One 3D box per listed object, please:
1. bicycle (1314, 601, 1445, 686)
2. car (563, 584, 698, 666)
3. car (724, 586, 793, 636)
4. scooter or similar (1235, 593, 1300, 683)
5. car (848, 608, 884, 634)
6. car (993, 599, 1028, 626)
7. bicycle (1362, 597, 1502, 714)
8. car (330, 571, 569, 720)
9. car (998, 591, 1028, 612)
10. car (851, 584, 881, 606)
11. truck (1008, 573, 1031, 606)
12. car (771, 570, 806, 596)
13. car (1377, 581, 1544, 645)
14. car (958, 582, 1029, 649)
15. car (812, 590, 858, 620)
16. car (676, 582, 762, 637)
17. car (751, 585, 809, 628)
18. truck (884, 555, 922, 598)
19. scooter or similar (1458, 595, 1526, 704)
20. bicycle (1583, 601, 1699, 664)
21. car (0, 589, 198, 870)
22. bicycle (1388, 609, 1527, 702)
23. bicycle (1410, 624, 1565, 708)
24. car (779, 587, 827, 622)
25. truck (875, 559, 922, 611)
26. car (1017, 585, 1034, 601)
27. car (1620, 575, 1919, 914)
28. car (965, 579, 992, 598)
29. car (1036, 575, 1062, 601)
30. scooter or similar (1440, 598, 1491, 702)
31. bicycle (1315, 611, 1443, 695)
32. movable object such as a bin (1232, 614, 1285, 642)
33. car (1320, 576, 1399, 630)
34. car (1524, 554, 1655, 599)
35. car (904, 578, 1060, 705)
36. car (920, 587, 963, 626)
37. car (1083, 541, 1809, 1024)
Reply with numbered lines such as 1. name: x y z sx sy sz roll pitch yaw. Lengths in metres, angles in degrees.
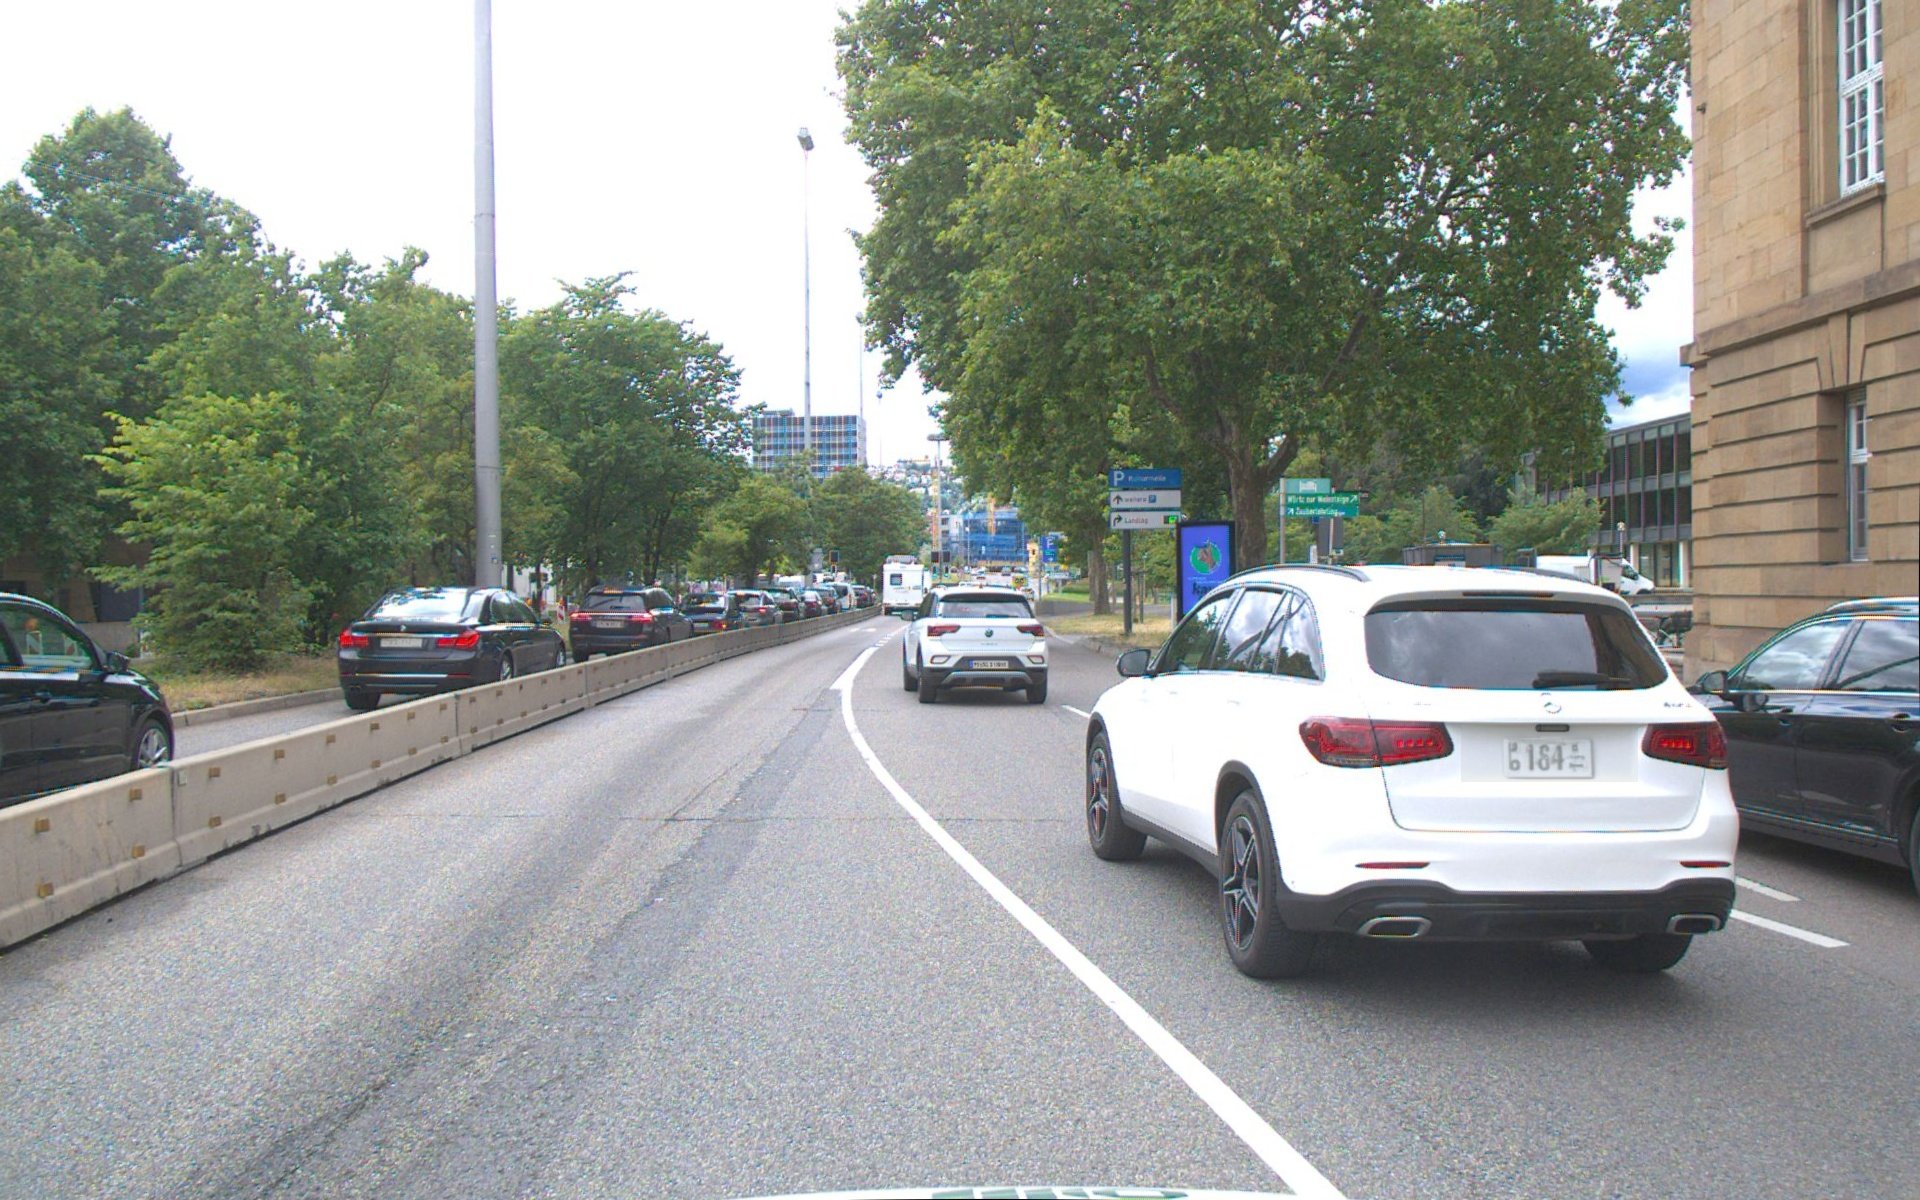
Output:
1. bicycle: 5.678 0.580 22.419 1.691 1.110 0.381 1 0 13
2. car: -6.537 0.456 33.295 1.779 1.525 4.769 0 0 0
3. car: -6.169 0.326 50.938 1.627 1.461 3.960 1 0 0
4. scooter or similar: 4.778 0.582 25.807 0.711 1.354 1.413 1 0 -1
5. car: -4.988 1.112 88.087 1.625 1.343 3.548 1 0 1
6. car: 2.846 0.681 93.809 1.907 1.453 4.017 1 0 1
7. bicycle: 5.439 0.624 19.042 1.510 1.278 0.543 1 0 18
8. car: -6.310 0.512 21.029 1.886 1.664 4.931 1 0 -5
9. car: 3.462 0.092 108.170 1.907 1.343 4.017 1 0 1
10. car: -6.088 -0.313 107.346 1.625 1.343 3.548 1 0 1
11. truck: 7.668 -1.352 213.944 2.818 4.175 6.638 1 0 1
12. car: -13.340 -1.338 129.017 2.072 2.004 5.578 0 0 0
13. car: 12.680 0.330 42.074 3.757 1.596 1.679 0 0 0
14. car: 0.849 0.381 43.390 1.626 1.668 3.545 1 0 -2
15. car: -5.738 0.217 76.142 1.624 1.343 3.549 1 0 3
16. car: -6.368 0.230 44.153 1.644 1.391 4.543 0 0 0
17. car: -6.382 0.205 58.950 1.740 1.445 3.999 0 1 -2
18. truck: -4.321 -1.757 126.006 2.637 3.044 5.637 2 0 -1
19. scooter or similar: 6.547 0.592 20.391 0.550 1.301 1.149 1 0 6
20. bicycle: 12.491 0.600 30.337 1.970 1.145 0.389 0 0 -1
21. car: -6.005 0.671 9.695 1.628 1.479 4.190 1 0 -8
22. bicycle: 5.887 0.650 19.621 1.529 1.046 0.436 1 0 11
23. bicycle: 6.140 0.754 19.293 1.692 0.933 0.614 0 0 18
24. car: -6.328 0.176 67.014 1.625 1.343 3.547 1 0 0
25. truck: -3.580 -0.890 97.867 2.567 2.911 7.077 1 0 -1
26. car: 7.025 -0.778 178.444 1.722 1.698 4.168 0 1 0
27. car: 5.233 0.650 8.513 1.752 1.512 4.324 -2 1 -3
28. car: 1.367 -0.842 122.398 1.907 1.343 4.017 1 0 1
29. car: 7.276 -0.988 135.096 1.952 2.049 4.001 1 0 1
30. scooter or similar: 6.263 0.606 20.544 0.416 1.245 1.313 1 0 10
31. bicycle: 5.799 0.721 22.946 1.691 1.110 0.426 1 0 13
32. movable object such as a bin: 7.495 0.699 41.534 1.271 0.663 0.729 2 -1 8
33. car: 13.135 0.074 54.603 1.724 1.579 4.028 0 2 1
34. car: 33.004 -1.235 86.859 5.980 2.300 2.402 0 0 2
35. car: 0.232 0.540 23.429 1.761 1.636 3.750 1 0 -6
36. car: -0.711 0.253 64.797 1.625 1.438 3.547 1 0 0
37. car: 1.888 0.627 7.973 1.754 1.653 4.430 1 0 -7
